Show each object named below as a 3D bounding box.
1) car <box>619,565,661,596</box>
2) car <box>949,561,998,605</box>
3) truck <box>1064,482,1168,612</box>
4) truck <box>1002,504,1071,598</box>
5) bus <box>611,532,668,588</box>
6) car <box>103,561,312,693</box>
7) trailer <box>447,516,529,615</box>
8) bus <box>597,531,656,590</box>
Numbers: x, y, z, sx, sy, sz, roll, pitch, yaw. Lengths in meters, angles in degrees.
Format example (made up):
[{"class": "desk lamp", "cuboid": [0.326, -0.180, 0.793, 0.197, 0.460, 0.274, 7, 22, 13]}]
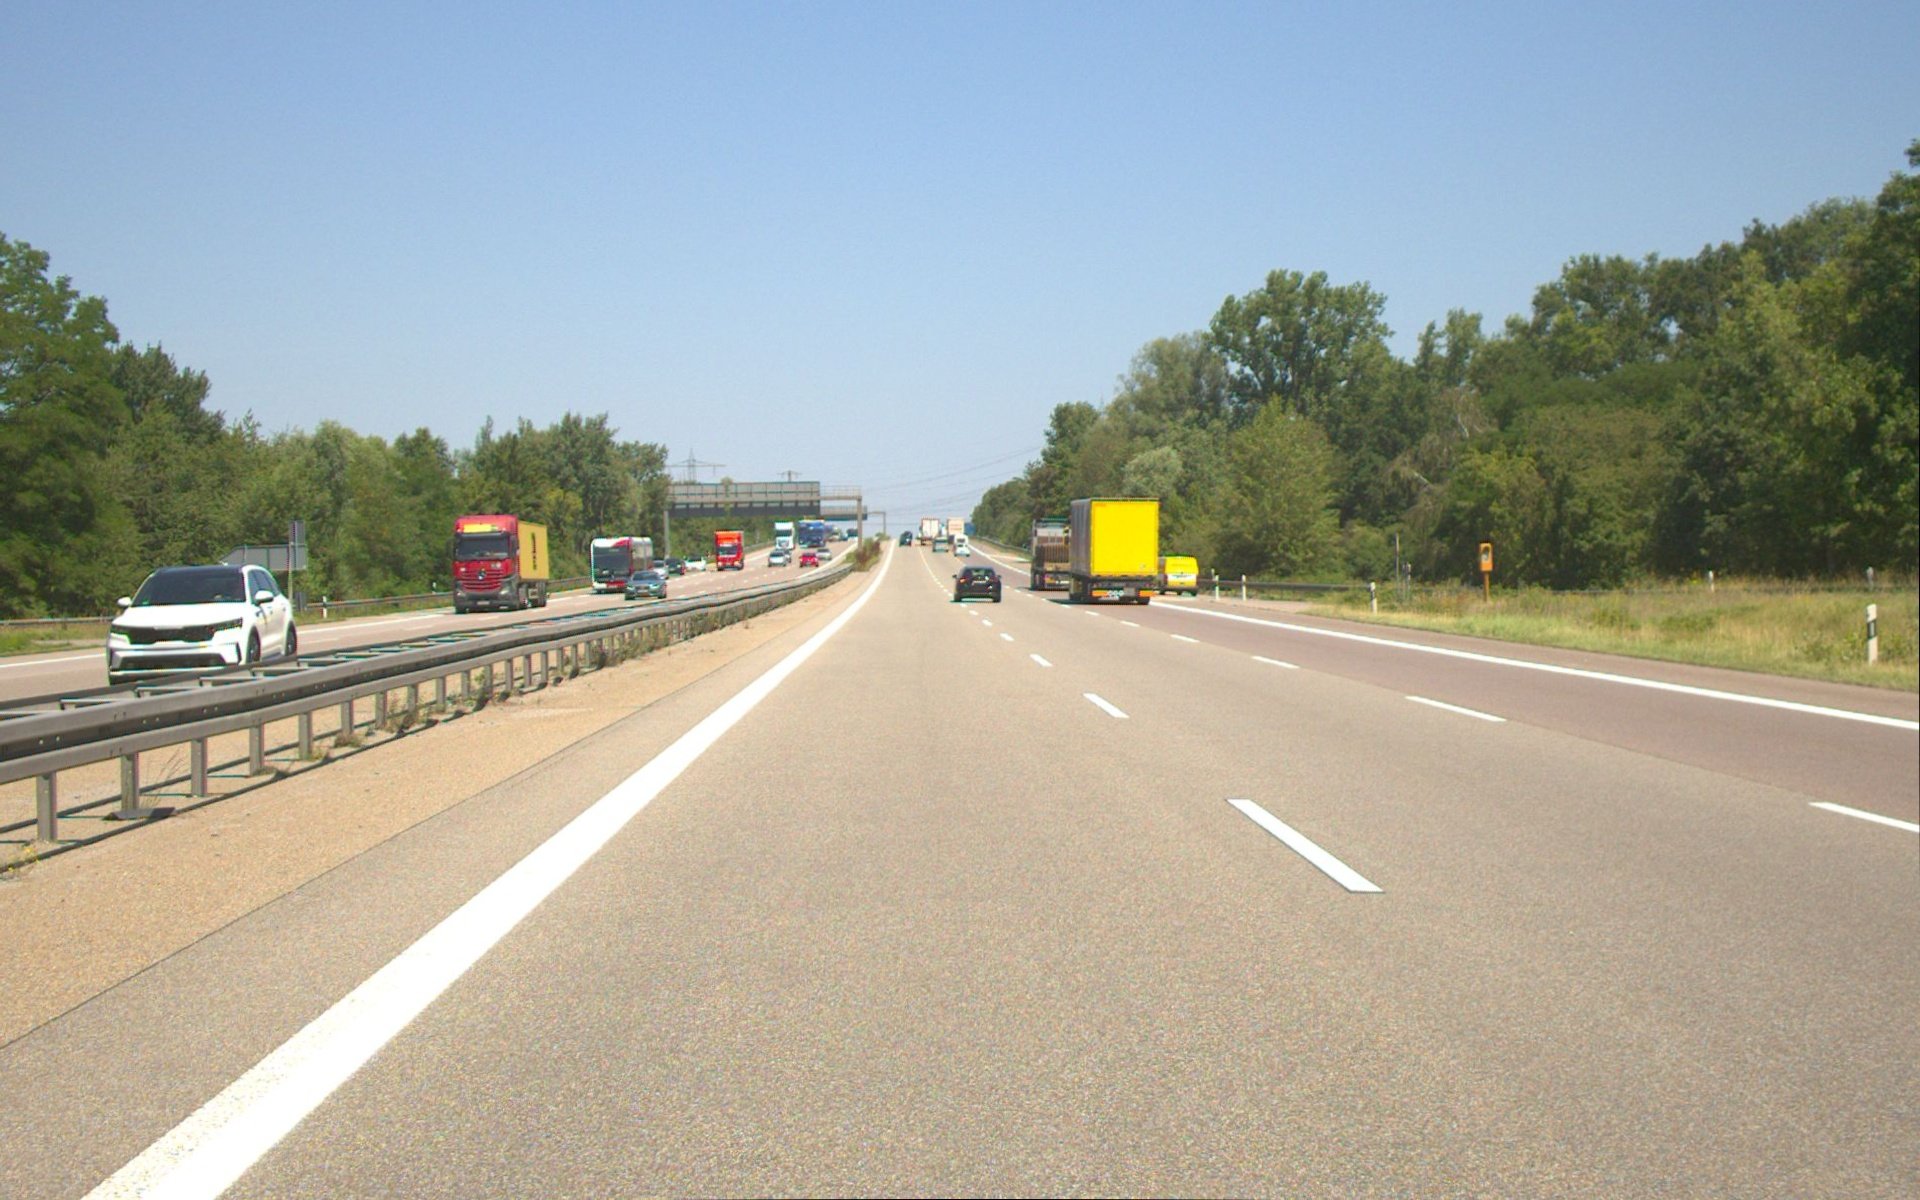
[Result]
[{"class": "car", "cuboid": [-15.824, -0.951, 169.993, 1.720, 1.376, 4.787, -4, 0, -2]}, {"class": "car", "cuboid": [0.519, -0.674, 136.582, 1.827, 1.700, 4.000, 1, 1, -1]}, {"class": "truck", "cuboid": [6.119, -2.083, 137.354, 3.377, 4.864, 15.086, 1, 1, 0]}, {"class": "truck", "cuboid": [4.062, -2.650, 186.170, 3.367, 4.864, 15.086, 1, 1, 0]}, {"class": "bus", "cuboid": [-20.474, -2.536, 219.914, 2.763, 3.435, 10.146, -1, 1, -1]}, {"class": "car", "cuboid": [-10.310, 0.319, 47.455, 1.810, 1.687, 5.125, -1, 1, -1]}, {"class": "trailer", "cuboid": [-19.556, -1.446, 142.683, 2.603, 3.978, 6.029, 1, 1, -1]}, {"class": "bus", "cuboid": [-20.352, -2.421, 210.388, 2.763, 3.435, 8.932, -1, 1, -1]}]
